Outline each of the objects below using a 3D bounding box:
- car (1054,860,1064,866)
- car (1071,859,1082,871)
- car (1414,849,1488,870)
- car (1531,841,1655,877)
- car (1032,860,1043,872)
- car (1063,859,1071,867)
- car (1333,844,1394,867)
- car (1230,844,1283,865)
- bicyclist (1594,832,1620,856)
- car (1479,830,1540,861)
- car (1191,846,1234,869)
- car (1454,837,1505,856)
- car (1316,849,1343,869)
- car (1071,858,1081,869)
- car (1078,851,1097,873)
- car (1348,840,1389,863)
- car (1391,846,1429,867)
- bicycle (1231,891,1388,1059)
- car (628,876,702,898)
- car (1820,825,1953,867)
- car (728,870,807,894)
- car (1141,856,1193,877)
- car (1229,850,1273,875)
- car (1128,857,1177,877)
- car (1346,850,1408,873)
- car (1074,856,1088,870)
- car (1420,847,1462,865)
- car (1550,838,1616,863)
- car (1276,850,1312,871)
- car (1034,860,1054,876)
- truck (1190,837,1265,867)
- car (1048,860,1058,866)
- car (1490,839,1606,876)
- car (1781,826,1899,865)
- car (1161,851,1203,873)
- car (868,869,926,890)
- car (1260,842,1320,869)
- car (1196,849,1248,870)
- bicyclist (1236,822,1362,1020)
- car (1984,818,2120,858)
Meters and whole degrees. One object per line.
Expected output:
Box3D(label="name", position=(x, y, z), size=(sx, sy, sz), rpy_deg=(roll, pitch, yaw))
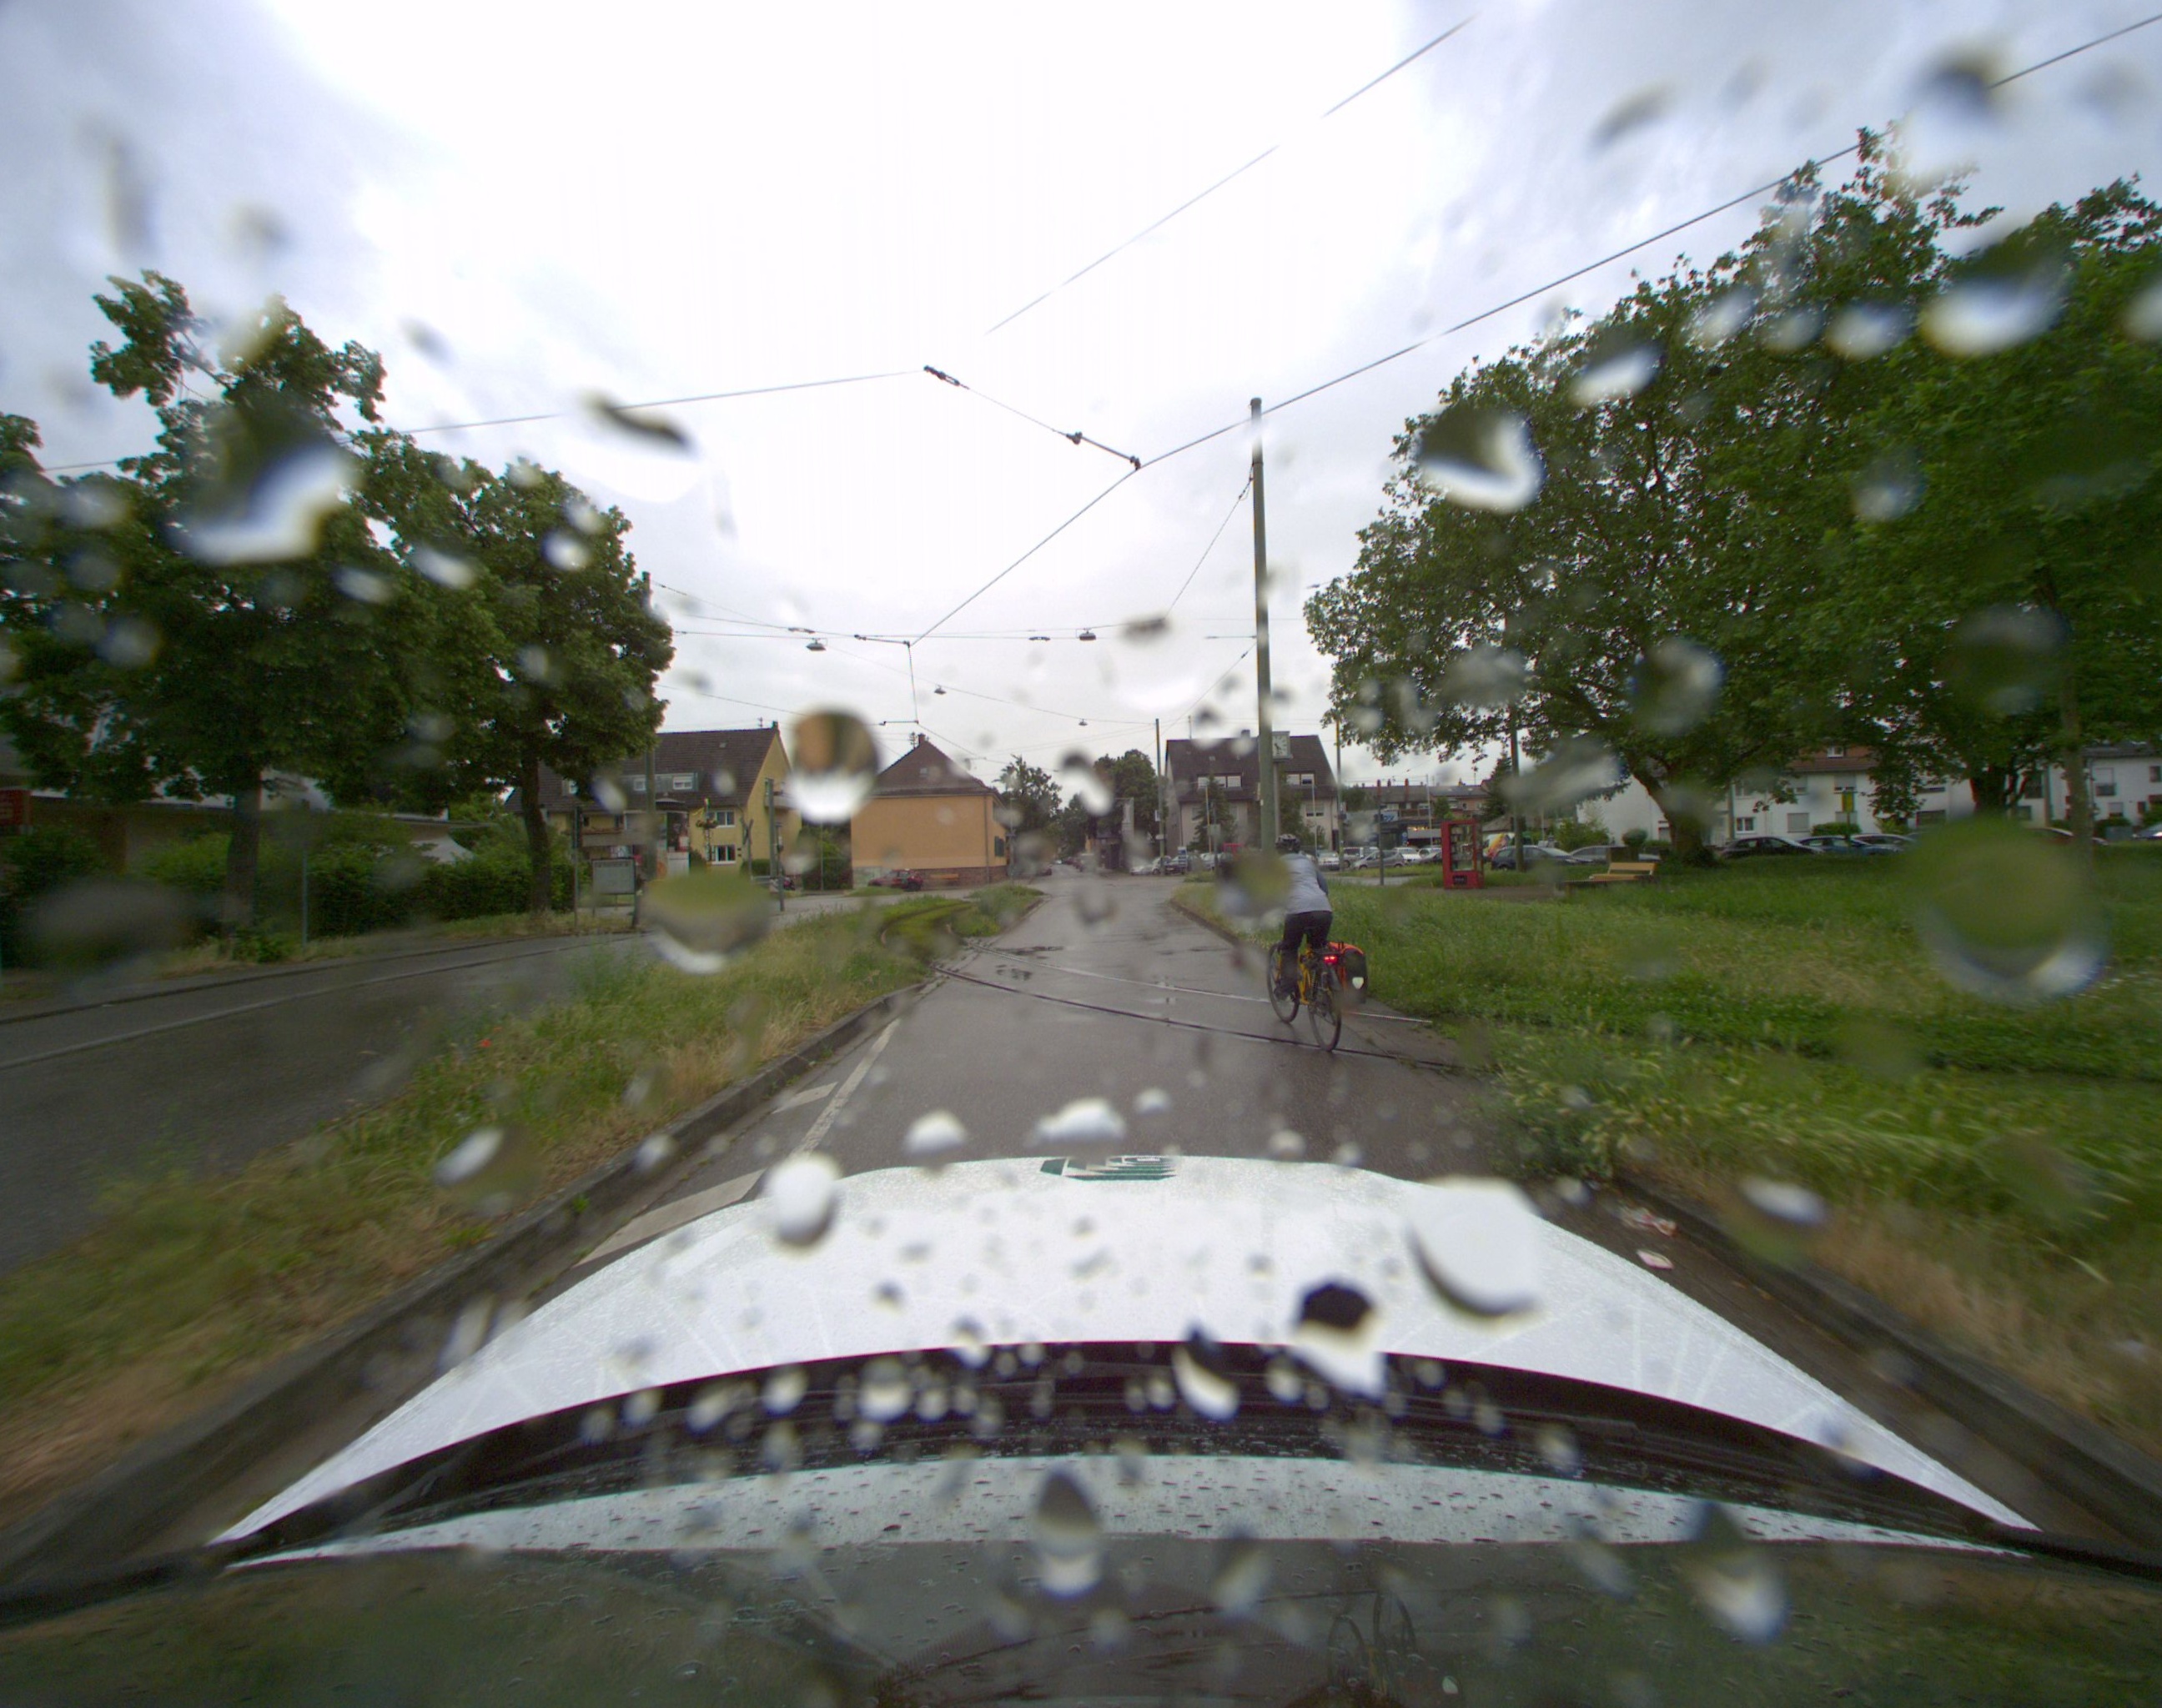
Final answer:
Box3D(label="car", position=(-5.920, 2.386, 220.641), size=(1.833, 1.697, 4.008), rpy_deg=(0, -1, -17))
Box3D(label="car", position=(-0.801, 1.874, 138.072), size=(1.824, 2.014, 3.996), rpy_deg=(0, -1, -3))
Box3D(label="car", position=(25.481, 0.368, 56.167), size=(4.366, 1.339, 1.720), rpy_deg=(1, -1, -5))
Box3D(label="car", position=(23.291, 0.271, 37.249), size=(1.808, 1.476, 4.510), rpy_deg=(-2, -1, -26))
Box3D(label="car", position=(-7.473, 2.090, 139.426), size=(1.824, 2.014, 3.996), rpy_deg=(0, -1, -3))
Box3D(label="car", position=(-3.520, 2.228, 202.407), size=(1.824, 2.014, 3.996), rpy_deg=(0, -1, -3))
Box3D(label="car", position=(23.245, 0.140, 67.129), size=(4.416, 1.687, 1.761), rpy_deg=(-2, -2, 1))
Box3D(label="car", position=(15.985, 0.080, 74.386), size=(4.416, 1.687, 2.001), rpy_deg=(-2, -1, 1))
Box3D(label="bicyclist", position=(35.457, -0.669, 54.901), size=(1.036, 1.598, 0.949), rpy_deg=(-3, -1, -2))
Box3D(label="car", position=(33.792, -0.626, 64.403), size=(2.138, 2.406, 5.147), rpy_deg=(0, -1, 0))
Box3D(label="car", position=(10.206, 0.236, 62.966), size=(1.784, 1.578, 3.896), rpy_deg=(-3, -1, 32))
Box3D(label="car", position=(37.437, -0.722, 76.502), size=(4.451, 1.580, 1.780), rpy_deg=(-2, -2, -22))
Box3D(label="car", position=(19.046, 0.381, 62.481), size=(1.814, 1.504, 4.074), rpy_deg=(0, -1, 14))
Box3D(label="car", position=(-1.002, 1.836, 156.791), size=(1.824, 2.014, 3.996), rpy_deg=(0, -1, -3))
Box3D(label="car", position=(0.734, 0.976, 99.894), size=(2.148, 2.572, 4.129), rpy_deg=(0, -1, -3))
Box3D(label="car", position=(22.114, -0.177, 62.688), size=(1.795, 1.578, 3.873), rpy_deg=(-3, -1, 1))
Box3D(label="car", position=(25.288, 0.194, 62.717), size=(1.710, 1.573, 3.620), rpy_deg=(0, -1, 3))
Box3D(label="bicycle", position=(1.789, 0.895, 6.697), size=(0.750, 1.073, 1.928), rpy_deg=(-3, -1, 2))
Box3D(label="car", position=(-27.466, 2.168, 53.855), size=(3.978, 1.332, 1.757), rpy_deg=(0, -1, -4))
Box3D(label="car", position=(36.217, -0.309, 36.717), size=(1.832, 1.501, 3.954), rpy_deg=(0, -5, -37))
Box3D(label="car", position=(-20.806, 1.855, 54.147), size=(4.480, 1.396, 1.965), rpy_deg=(-2, -1, -3))
Box3D(label="car", position=(7.178, 1.049, 67.868), size=(3.873, 1.578, 1.795), rpy_deg=(-3, -1, -20))
Box3D(label="car", position=(13.107, 0.627, 62.516), size=(1.974, 1.717, 4.025), rpy_deg=(-3, -1, 32))
Box3D(label="car", position=(6.261, 1.154, 71.188), size=(3.873, 1.578, 1.795), rpy_deg=(-3, -1, -20))
Box3D(label="car", position=(20.172, 0.495, 55.609), size=(3.619, 1.504, 1.723), rpy_deg=(0, -1, 1))
Box3D(label="car", position=(-0.076, 1.277, 118.457), size=(1.987, 2.014, 3.999), rpy_deg=(0, -1, -1))
Box3D(label="car", position=(27.420, 0.168, 62.202), size=(1.710, 1.396, 3.845), rpy_deg=(0, -1, 3))
Box3D(label="car", position=(38.983, -0.243, 63.323), size=(3.871, 1.565, 1.999), rpy_deg=(-5, 0, -1))
Box3D(label="car", position=(16.414, 0.508, 62.572), size=(1.810, 1.504, 4.083), rpy_deg=(0, -1, 28))
Box3D(label="car", position=(-3.958, 1.546, 87.556), size=(1.989, 1.618, 3.996), rpy_deg=(-2, -1, -2))
Box3D(label="truck", position=(12.773, -0.162, 71.086), size=(6.033, 2.272, 2.010), rpy_deg=(-3, -2, 19))
Box3D(label="car", position=(-7.714, 2.436, 226.042), size=(1.833, 1.697, 4.008), rpy_deg=(0, -1, -17))
Box3D(label="car", position=(20.754, 0.186, 36.370), size=(1.810, 1.476, 4.136), rpy_deg=(-2, -1, -30))
Box3D(label="car", position=(33.700, -0.345, 36.231), size=(1.762, 1.506, 3.477), rpy_deg=(0, -3, -36))
Box3D(label="car", position=(8.019, 0.614, 64.404), size=(1.784, 1.578, 3.896), rpy_deg=(-3, -1, 32))
Box3D(label="car", position=(-12.451, 1.718, 55.176), size=(3.597, 1.339, 1.721), rpy_deg=(0, -1, -3))
Box3D(label="car", position=(17.174, 0.175, 67.190), size=(4.416, 2.014, 2.001), rpy_deg=(-2, -2, 1))
Box3D(label="car", position=(11.802, 0.482, 68.088), size=(3.933, 1.598, 2.010), rpy_deg=(-3, -2, 19))
Box3D(label="bicyclist", position=(1.759, 0.517, 6.702), size=(0.748, 1.485, 0.846), rpy_deg=(-3, -1, 2))
Box3D(label="car", position=(43.235, -0.690, 36.347), size=(1.641, 1.480, 3.567), rpy_deg=(-2, -2, -26))
